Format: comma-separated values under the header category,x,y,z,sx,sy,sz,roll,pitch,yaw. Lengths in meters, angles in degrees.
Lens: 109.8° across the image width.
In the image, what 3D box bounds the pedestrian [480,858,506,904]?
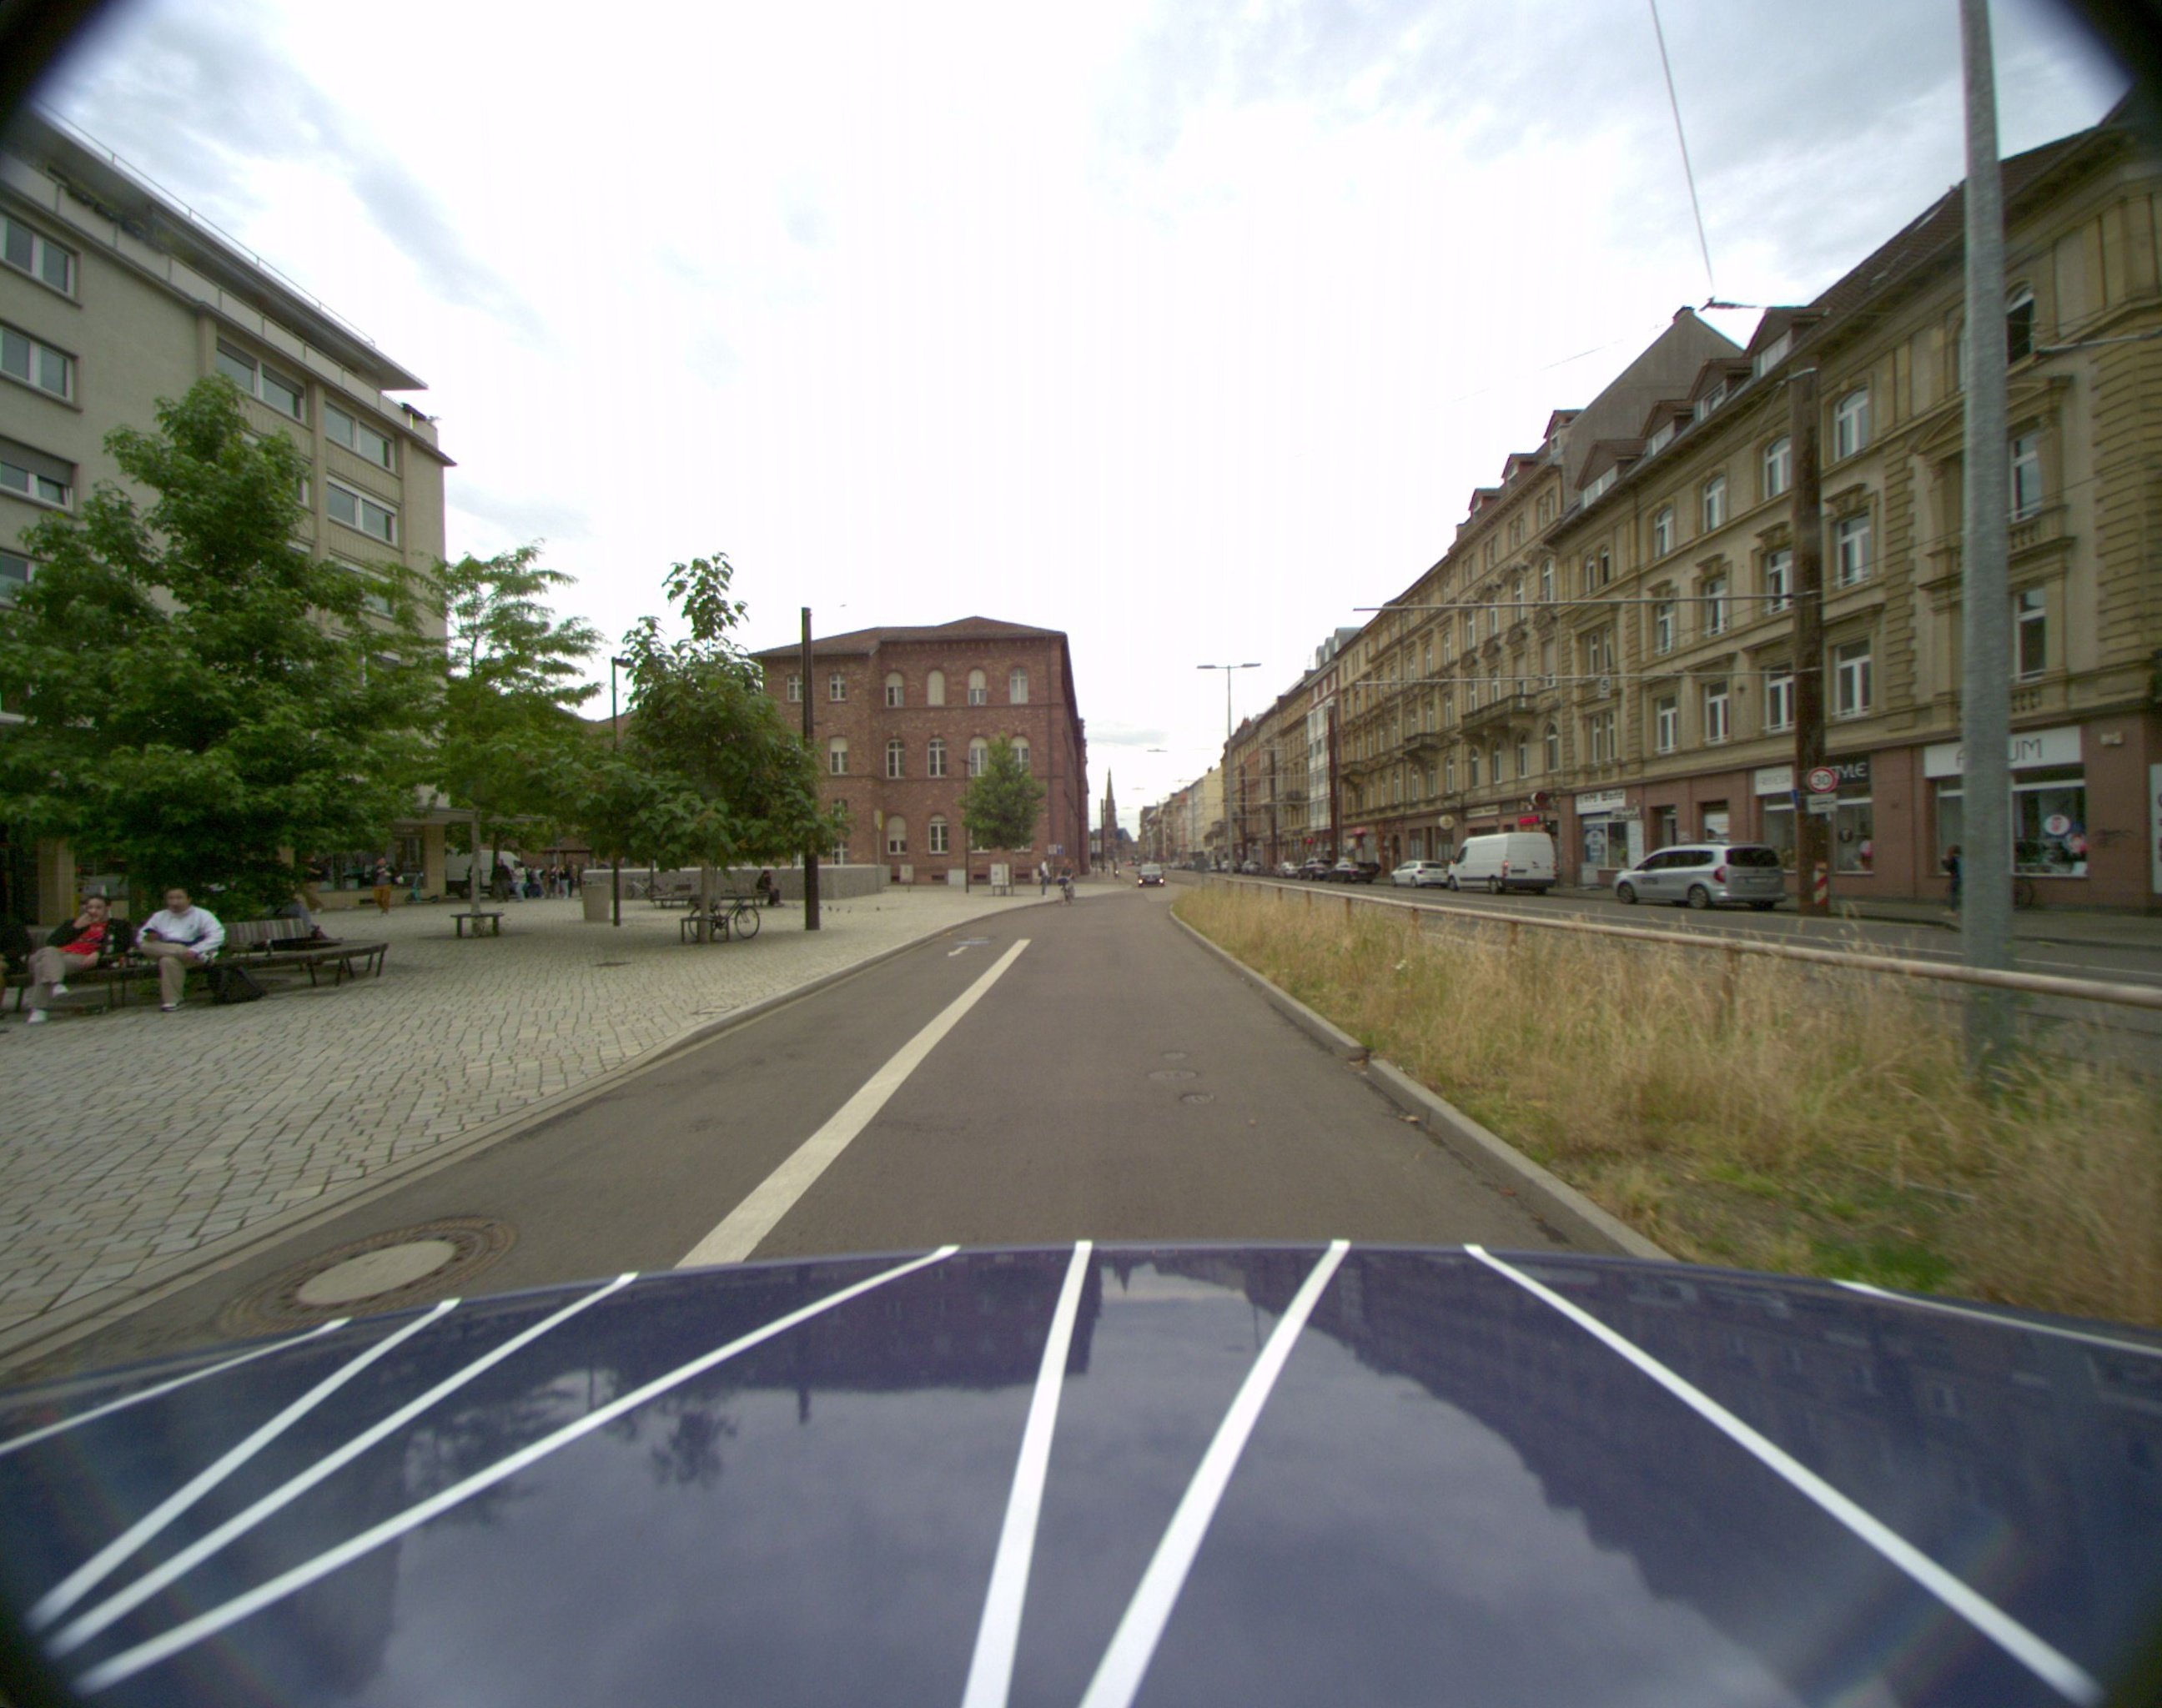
category,x,y,z,sx,sy,sz,roll,pitch,yaw
pedestrian,-22.942,1.060,29.650,0.590,1.757,0.645,-1,-1,37

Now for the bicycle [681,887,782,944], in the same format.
category,x,y,z,sx,sy,sz,roll,pitch,yaw
bicycle,-7.476,1.312,16.267,1.917,1.116,0.646,-2,0,12

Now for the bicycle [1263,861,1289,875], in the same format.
category,x,y,z,sx,sy,sz,roll,pitch,yaw
bicycle,18.698,1.332,72.996,2.287,1.321,0.666,0,0,2

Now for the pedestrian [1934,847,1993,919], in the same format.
category,x,y,z,sx,sy,sz,roll,pitch,yaw
pedestrian,19.414,0.621,16.734,0.554,1.547,0.658,-2,0,19

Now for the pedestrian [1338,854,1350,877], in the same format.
category,x,y,z,sx,sy,sz,roll,pitch,yaw
pedestrian,21.344,0.934,61.724,0.653,1.772,0.787,-2,0,38

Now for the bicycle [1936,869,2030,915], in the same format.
category,x,y,z,sx,sy,sz,roll,pitch,yaw
bicycle,20.646,0.852,17.432,0.340,0.953,1.688,-2,0,8

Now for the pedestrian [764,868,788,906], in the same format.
category,x,y,z,sx,sy,sz,roll,pitch,yaw
pedestrian,-11.961,1.269,29.769,0.781,1.447,0.766,1,0,-28

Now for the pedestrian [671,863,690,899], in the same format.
category,x,y,z,sx,sy,sz,roll,pitch,yaw
pedestrian,-18.665,1.276,35.400,0.513,1.660,0.593,-1,-1,25

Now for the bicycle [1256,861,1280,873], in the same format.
category,x,y,z,sx,sy,sz,roll,pitch,yaw
bicycle,18.971,1.325,77.067,2.287,1.196,0.666,0,0,2

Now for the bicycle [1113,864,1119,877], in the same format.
category,x,y,z,sx,sy,sz,roll,pitch,yaw
bicycle,3.451,1.616,74.689,0.472,1.151,2.273,-1,0,1

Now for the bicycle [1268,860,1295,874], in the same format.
category,x,y,z,sx,sy,sz,roll,pitch,yaw
bicycle,18.533,1.216,70.260,2.287,1.321,0.521,0,0,2

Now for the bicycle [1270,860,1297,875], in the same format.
category,x,y,z,sx,sy,sz,roll,pitch,yaw
bicycle,18.561,1.211,69.537,2.287,1.321,0.666,0,0,2

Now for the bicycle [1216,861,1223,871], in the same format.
category,x,y,z,sx,sy,sz,roll,pitch,yaw
bicycle,17.156,1.459,93.960,0.586,1.167,2.045,0,0,3

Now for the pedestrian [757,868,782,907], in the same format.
category,x,y,z,sx,sy,sz,roll,pitch,yaw
pedestrian,-11.856,1.280,28.892,0.781,1.447,0.766,1,0,-28

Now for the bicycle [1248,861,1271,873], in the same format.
category,x,y,z,sx,sy,sz,roll,pitch,yaw
bicycle,18.766,1.382,79.862,2.287,1.196,0.705,0,0,2

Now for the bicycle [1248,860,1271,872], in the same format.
category,x,y,z,sx,sy,sz,roll,pitch,yaw
bicycle,18.923,1.319,80.543,2.287,1.196,0.547,-2,0,2

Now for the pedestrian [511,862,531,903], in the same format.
category,x,y,z,sx,sy,sz,roll,pitch,yaw
pedestrian,-22.103,1.127,29.992,0.592,1.576,0.642,0,-1,-31

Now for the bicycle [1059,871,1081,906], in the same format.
category,x,y,z,sx,sy,sz,roll,pitch,yaw
bicycle,-0.416,1.325,29.679,0.524,1.253,1.943,-1,0,10

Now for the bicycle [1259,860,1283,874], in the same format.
category,x,y,z,sx,sy,sz,roll,pitch,yaw
bicycle,18.944,1.275,75.814,2.287,1.321,0.666,0,0,2

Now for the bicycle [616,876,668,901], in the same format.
category,x,y,z,sx,sy,sz,roll,pitch,yaw
bicycle,-19.357,1.514,33.512,2.029,1.058,0.470,0,0,0

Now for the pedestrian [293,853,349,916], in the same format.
category,x,y,z,sx,sy,sz,roll,pitch,yaw
pedestrian,-23.095,0.911,23.106,0.773,1.890,1.065,0,0,-16

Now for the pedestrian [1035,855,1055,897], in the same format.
category,x,y,z,sx,sy,sz,roll,pitch,yaw
pedestrian,-1.608,0.976,34.404,0.871,1.890,0.773,0,0,0

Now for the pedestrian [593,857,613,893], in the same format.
category,x,y,z,sx,sy,sz,roll,pitch,yaw
pedestrian,-22.429,0.998,35.639,0.513,1.660,0.593,-1,-1,23

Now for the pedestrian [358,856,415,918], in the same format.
category,x,y,z,sx,sy,sz,roll,pitch,yaw
pedestrian,-20.206,0.953,22.134,0.773,1.762,1.066,0,0,-9

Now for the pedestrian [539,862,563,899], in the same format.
category,x,y,z,sx,sy,sz,roll,pitch,yaw
pedestrian,-23.640,1.186,33.876,0.642,1.660,0.592,-1,-1,17

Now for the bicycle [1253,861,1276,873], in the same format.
category,x,y,z,sx,sy,sz,roll,pitch,yaw
bicycle,18.961,1.348,78.558,2.287,1.196,0.705,0,0,2

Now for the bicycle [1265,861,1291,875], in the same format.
category,x,y,z,sx,sy,sz,roll,pitch,yaw
bicycle,18.666,1.292,72.167,2.287,1.321,0.666,0,0,2

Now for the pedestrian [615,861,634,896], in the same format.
category,x,y,z,sx,sy,sz,roll,pitch,yaw
pedestrian,-21.626,1.150,36.007,0.513,1.660,0.593,-1,-1,22

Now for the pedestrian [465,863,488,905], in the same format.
category,x,y,z,sx,sy,sz,roll,pitch,yaw
pedestrian,-22.904,1.133,28.810,0.592,1.576,0.642,0,-1,-31

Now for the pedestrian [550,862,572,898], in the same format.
category,x,y,z,sx,sy,sz,roll,pitch,yaw
pedestrian,-23.769,1.182,34.732,0.642,1.660,0.593,-1,-1,22
